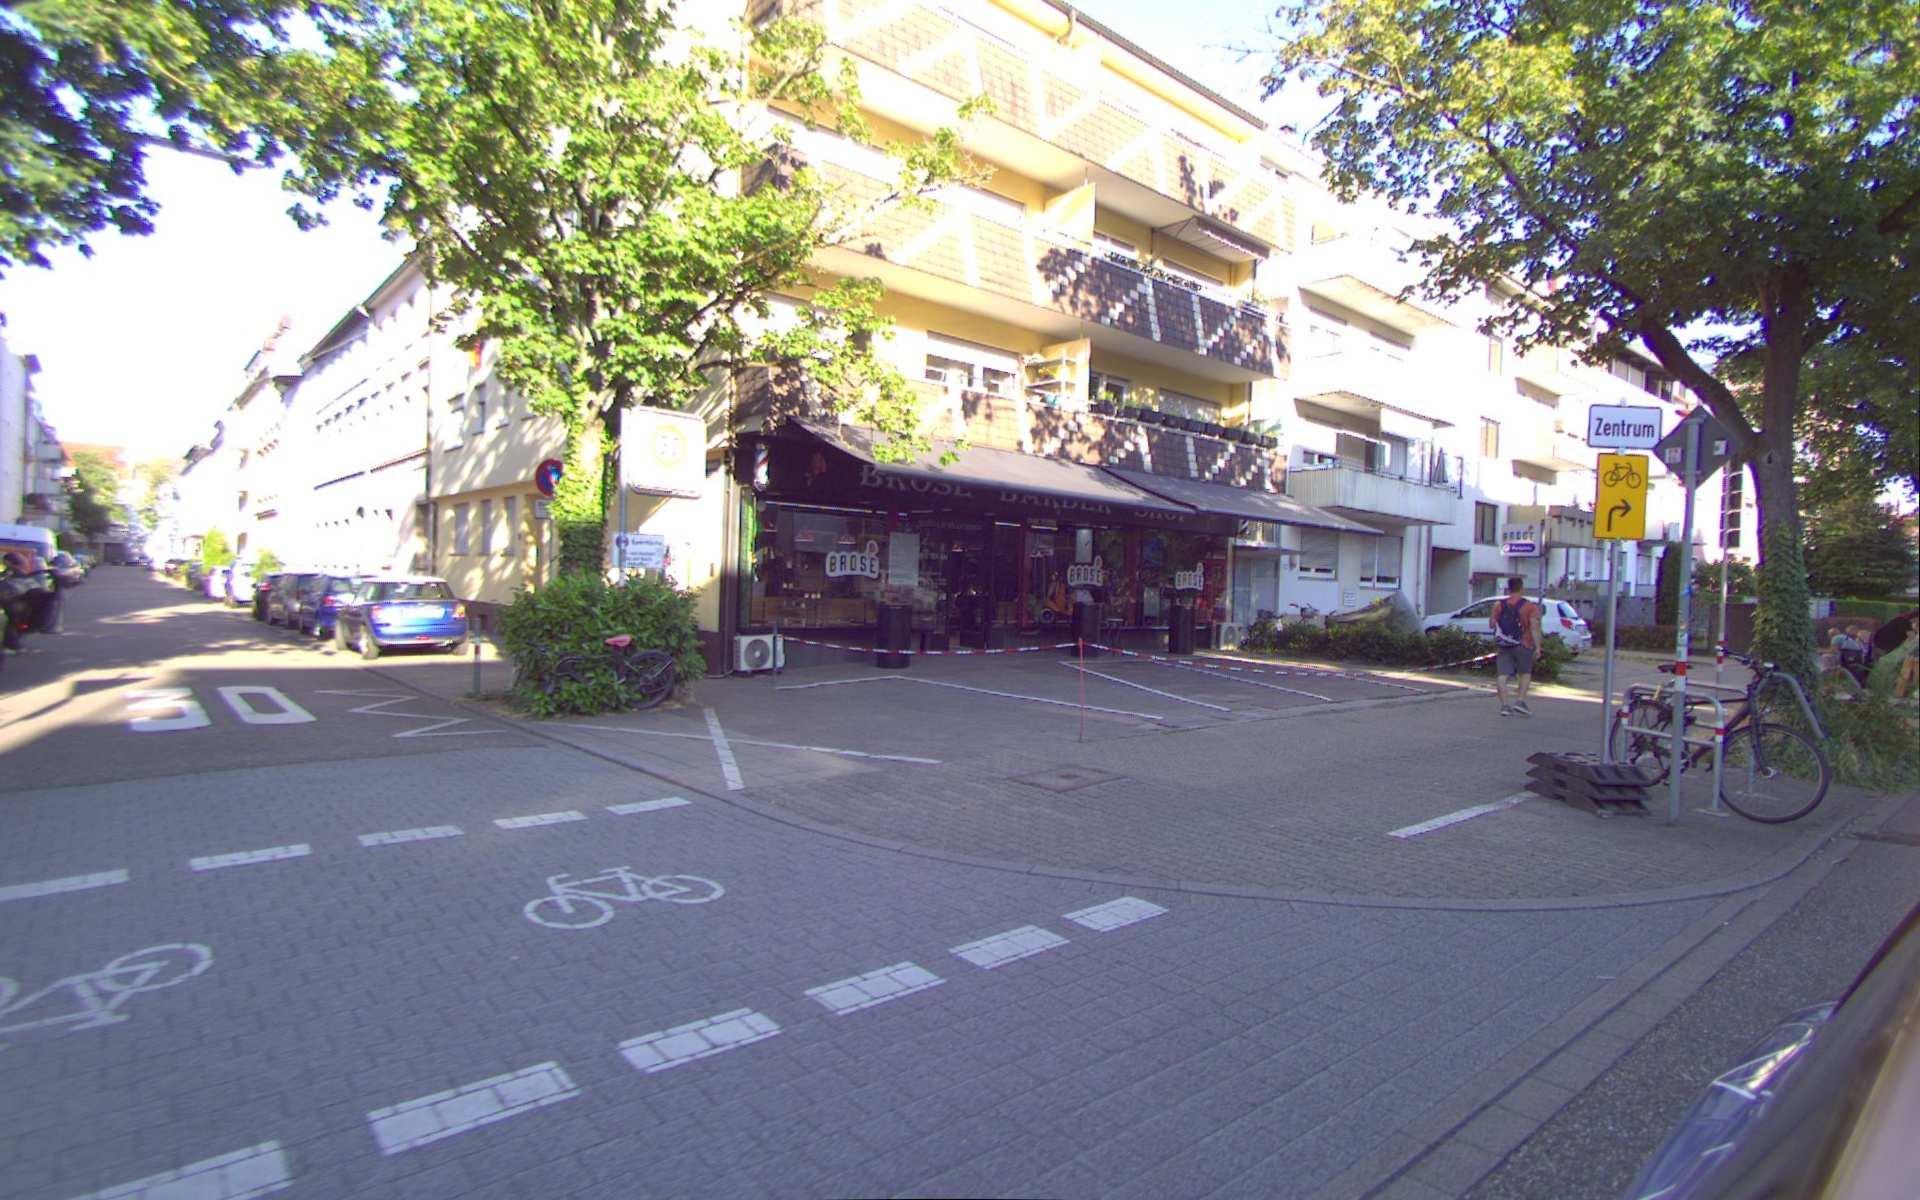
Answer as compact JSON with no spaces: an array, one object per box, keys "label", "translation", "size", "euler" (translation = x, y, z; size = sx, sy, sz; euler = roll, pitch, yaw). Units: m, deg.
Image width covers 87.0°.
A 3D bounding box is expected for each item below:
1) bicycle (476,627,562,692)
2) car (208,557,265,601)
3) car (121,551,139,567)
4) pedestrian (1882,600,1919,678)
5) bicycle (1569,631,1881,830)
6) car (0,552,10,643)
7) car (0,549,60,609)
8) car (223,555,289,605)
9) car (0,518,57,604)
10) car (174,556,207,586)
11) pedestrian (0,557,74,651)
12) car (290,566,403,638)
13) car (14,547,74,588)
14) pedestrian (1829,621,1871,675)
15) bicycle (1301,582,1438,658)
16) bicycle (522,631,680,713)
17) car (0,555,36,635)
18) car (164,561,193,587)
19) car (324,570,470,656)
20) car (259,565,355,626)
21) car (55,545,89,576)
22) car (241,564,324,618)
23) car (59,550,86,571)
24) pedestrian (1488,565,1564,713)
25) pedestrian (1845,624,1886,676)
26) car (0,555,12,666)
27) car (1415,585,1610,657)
[{"label":"bicycle","translation":[-5.545,0.734,12.738],"size":[0.896,0.752,0.428],"euler":[1,1,-40]},{"label":"car","translation":[-30.913,-0.917,43.186],"size":[1.708,1.770,3.996],"euler":[1,1,-39]},{"label":"car","translation":[-107.969,-5.316,131.639],"size":[1.732,2.039,3.996],"euler":[1,1,-39]},{"label":"pedestrian","translation":[18.378,0.749,19.410],"size":[0.798,1.462,0.916],"euler":[1,1,-42]},{"label":"bicycle","translation":[5.715,0.908,7.740],"size":[0.602,1.176,1.904],"euler":[2,2,-13]},{"label":"car","translation":[-16.428,-0.058,16.073],"size":[1.742,1.559,3.993],"euler":[4,-1,-42]},{"label":"car","translation":[-27.779,-0.663,29.618],"size":[1.965,1.651,4.577],"euler":[1,1,-40]},{"label":"car","translation":[-26.568,-0.780,38.139],"size":[1.708,1.770,3.996],"euler":[1,1,-39]},{"label":"car","translation":[-31.584,-1.315,33.771],"size":[1.965,2.706,4.577],"euler":[1,1,-40]},{"label":"car","translation":[-55.521,-2.076,73.037],"size":[1.732,2.039,3.995],"euler":[1,-1,-39]},{"label":"pedestrian","translation":[-15.573,0.052,17.004],"size":[0.995,1.510,1.230],"euler":[1,1,-41]},{"label":"car","translation":[-14.138,-0.027,23.236],"size":[1.708,1.472,3.997],"euler":[-1,2,-39]},{"label":"car","translation":[-44.873,-1.548,49.643],"size":[1.964,1.841,4.575],"euler":[1,-1,-40]},{"label":"pedestrian","translation":[18.417,0.979,20.934],"size":[0.522,1.073,0.553],"euler":[1,1,-39]},{"label":"bicycle","translation":[8.482,0.379,21.058],"size":[0.912,1.459,2.457],"euler":[1,1,-42]},{"label":"bicycle","translation":[-3.792,0.736,10.753],"size":[1.504,0.777,0.486],"euler":[1,1,-40]},{"label":"car","translation":[-19.724,-0.158,20.020],"size":[1.965,1.504,3.995],"euler":[1,1,-40]},{"label":"car","translation":[-64.148,-2.082,83.023],"size":[1.732,2.039,3.995],"euler":[1,-1,-39]},{"label":"car","translation":[-10.572,0.165,18.876],"size":[1.708,1.377,3.997],"euler":[-1,2,-39]},{"label":"car","translation":[-17.289,-0.175,26.711],"size":[1.708,1.472,3.997],"euler":[-1,2,-39]},{"label":"car","translation":[-61.559,-2.739,70.157],"size":[1.733,2.039,3.994],"euler":[1,1,-42]},{"label":"car","translation":[-20.336,-0.309,30.323],"size":[1.708,1.472,3.997],"euler":[-1,2,-39]},{"label":"car","translation":[-89.950,-4.049,102.594],"size":[1.966,2.039,3.993],"euler":[1,1,-42]},{"label":"pedestrian","translation":[7.102,0.467,12.698],"size":[0.552,1.794,0.619],"euler":[2,0,-40]},{"label":"pedestrian","translation":[19.390,1.065,21.673],"size":[0.533,1.073,0.553],"euler":[1,1,-40]},{"label":"car","translation":[-13.122,0.124,12.592],"size":[1.742,1.502,3.993],"euler":[4,-1,-42]},{"label":"car","translation":[13.366,0.448,24.625],"size":[1.550,1.523,3.869],"euler":[1,1,-45]}]
